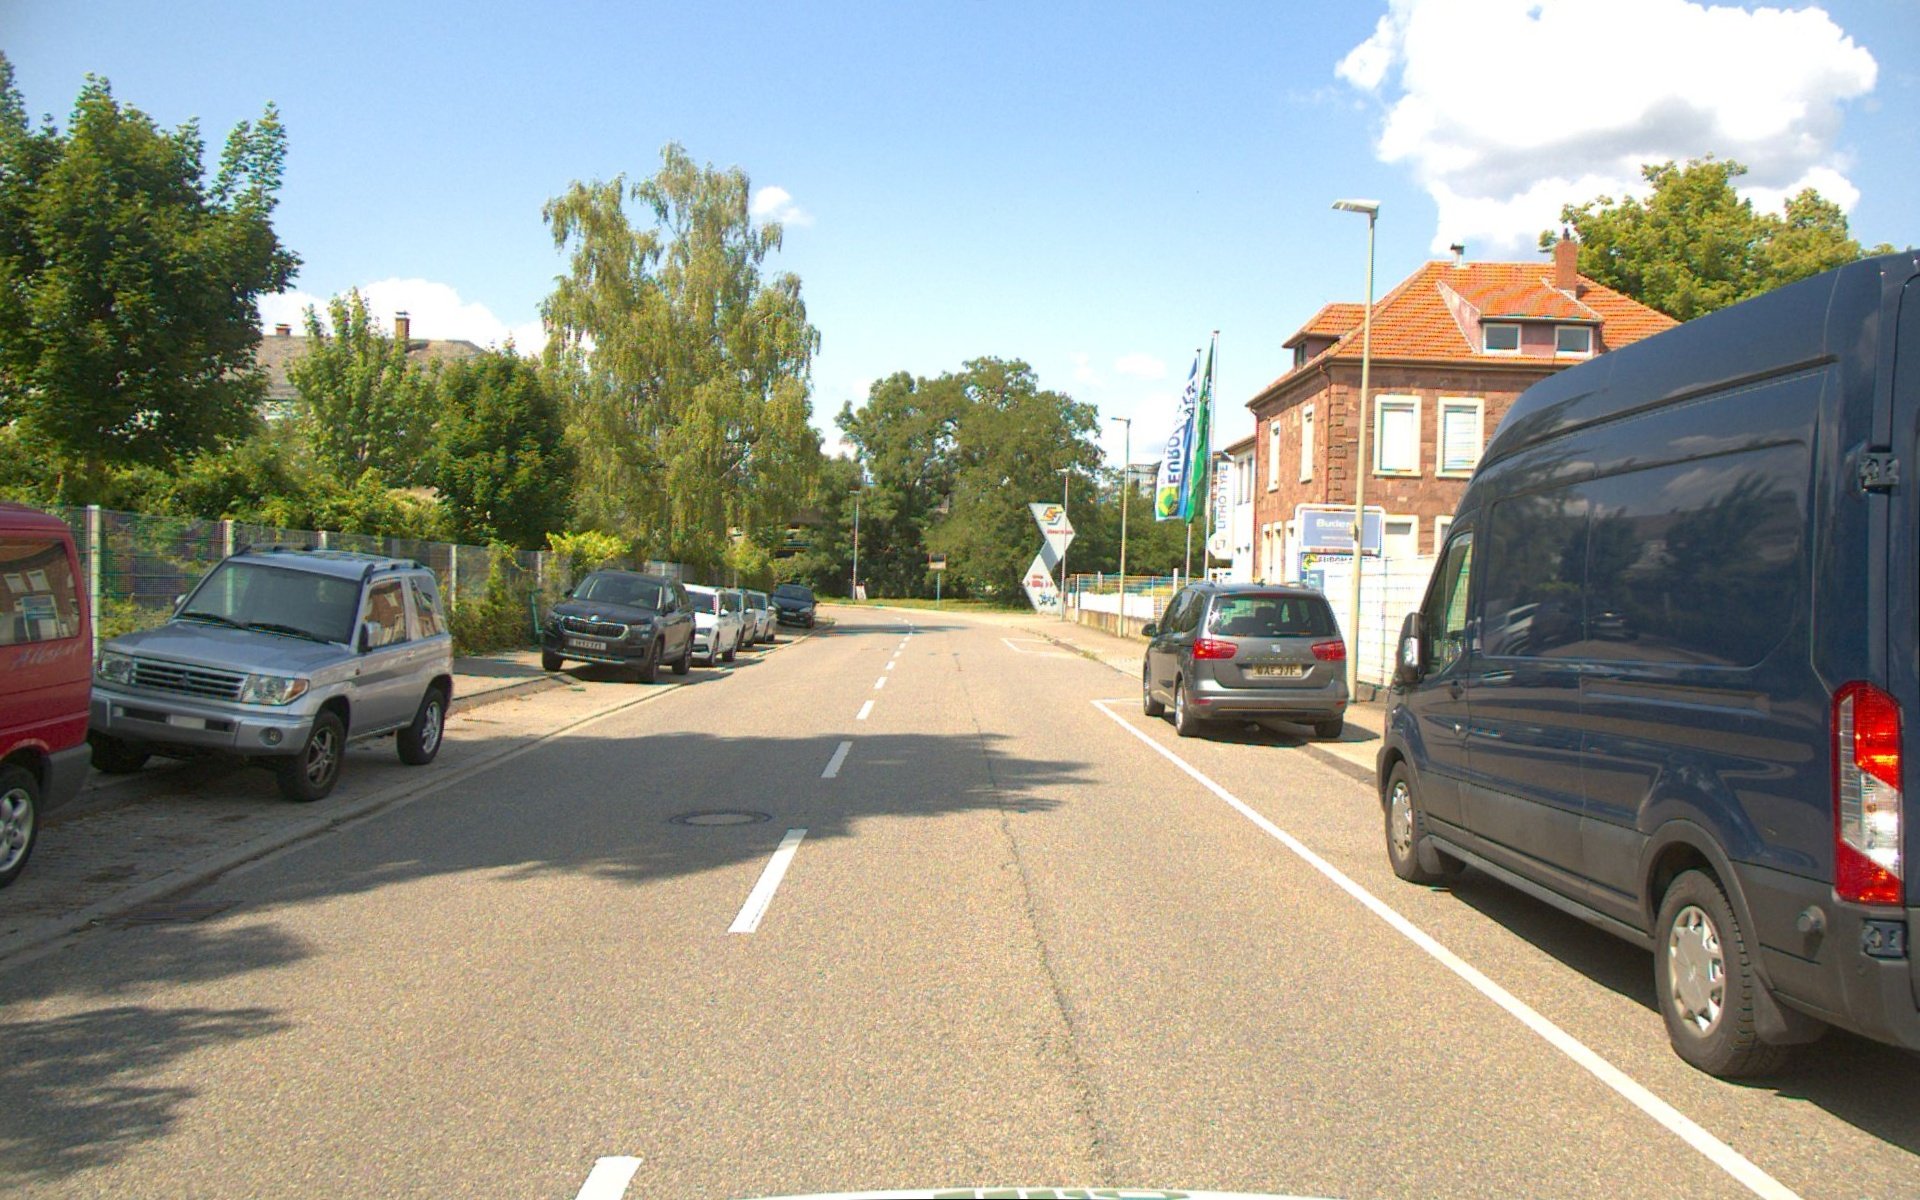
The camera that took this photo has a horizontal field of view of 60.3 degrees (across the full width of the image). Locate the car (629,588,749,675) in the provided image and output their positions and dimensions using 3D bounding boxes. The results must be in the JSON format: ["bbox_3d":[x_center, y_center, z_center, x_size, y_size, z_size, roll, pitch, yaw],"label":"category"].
[{"bbox_3d":[-5.481,0.591,33.932,1.665,1.623,4.787,1,0,0],"label":"car"}]

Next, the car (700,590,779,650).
[{"bbox_3d":[-6.363,0.541,48.139,1.690,1.502,4.629,5,0,-2],"label":"car"}]

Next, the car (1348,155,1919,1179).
[{"bbox_3d":[3.513,0.172,7.518,1.898,2.796,6.153,1,0,-1],"label":"car"}]

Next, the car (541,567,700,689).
[{"bbox_3d":[-5.551,0.416,27.596,1.578,1.775,4.636,3,0,0],"label":"car"}]

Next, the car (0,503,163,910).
[{"bbox_3d":[-5.541,0.433,6.938,1.861,1.987,4.957,7,0,-1],"label":"car"}]

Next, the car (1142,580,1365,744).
[{"bbox_3d":[3.335,0.633,19.626,1.788,1.693,4.555,1,0,-1],"label":"car"}]

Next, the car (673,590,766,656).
[{"bbox_3d":[-6.160,0.551,42.801,1.758,1.554,4.658,1,0,-1],"label":"car"}]

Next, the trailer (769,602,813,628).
[{"bbox_3d":[-6.779,0.609,66.524,1.435,0.865,2.466,6,0,0],"label":"trailer"}]

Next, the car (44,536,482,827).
[{"bbox_3d":[-5.293,0.540,13.154,1.665,1.833,3.827,5,0,1],"label":"car"}]

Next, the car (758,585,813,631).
[{"bbox_3d":[-6.560,0.298,62.513,1.649,1.538,4.156,5,0,-2],"label":"car"}]
